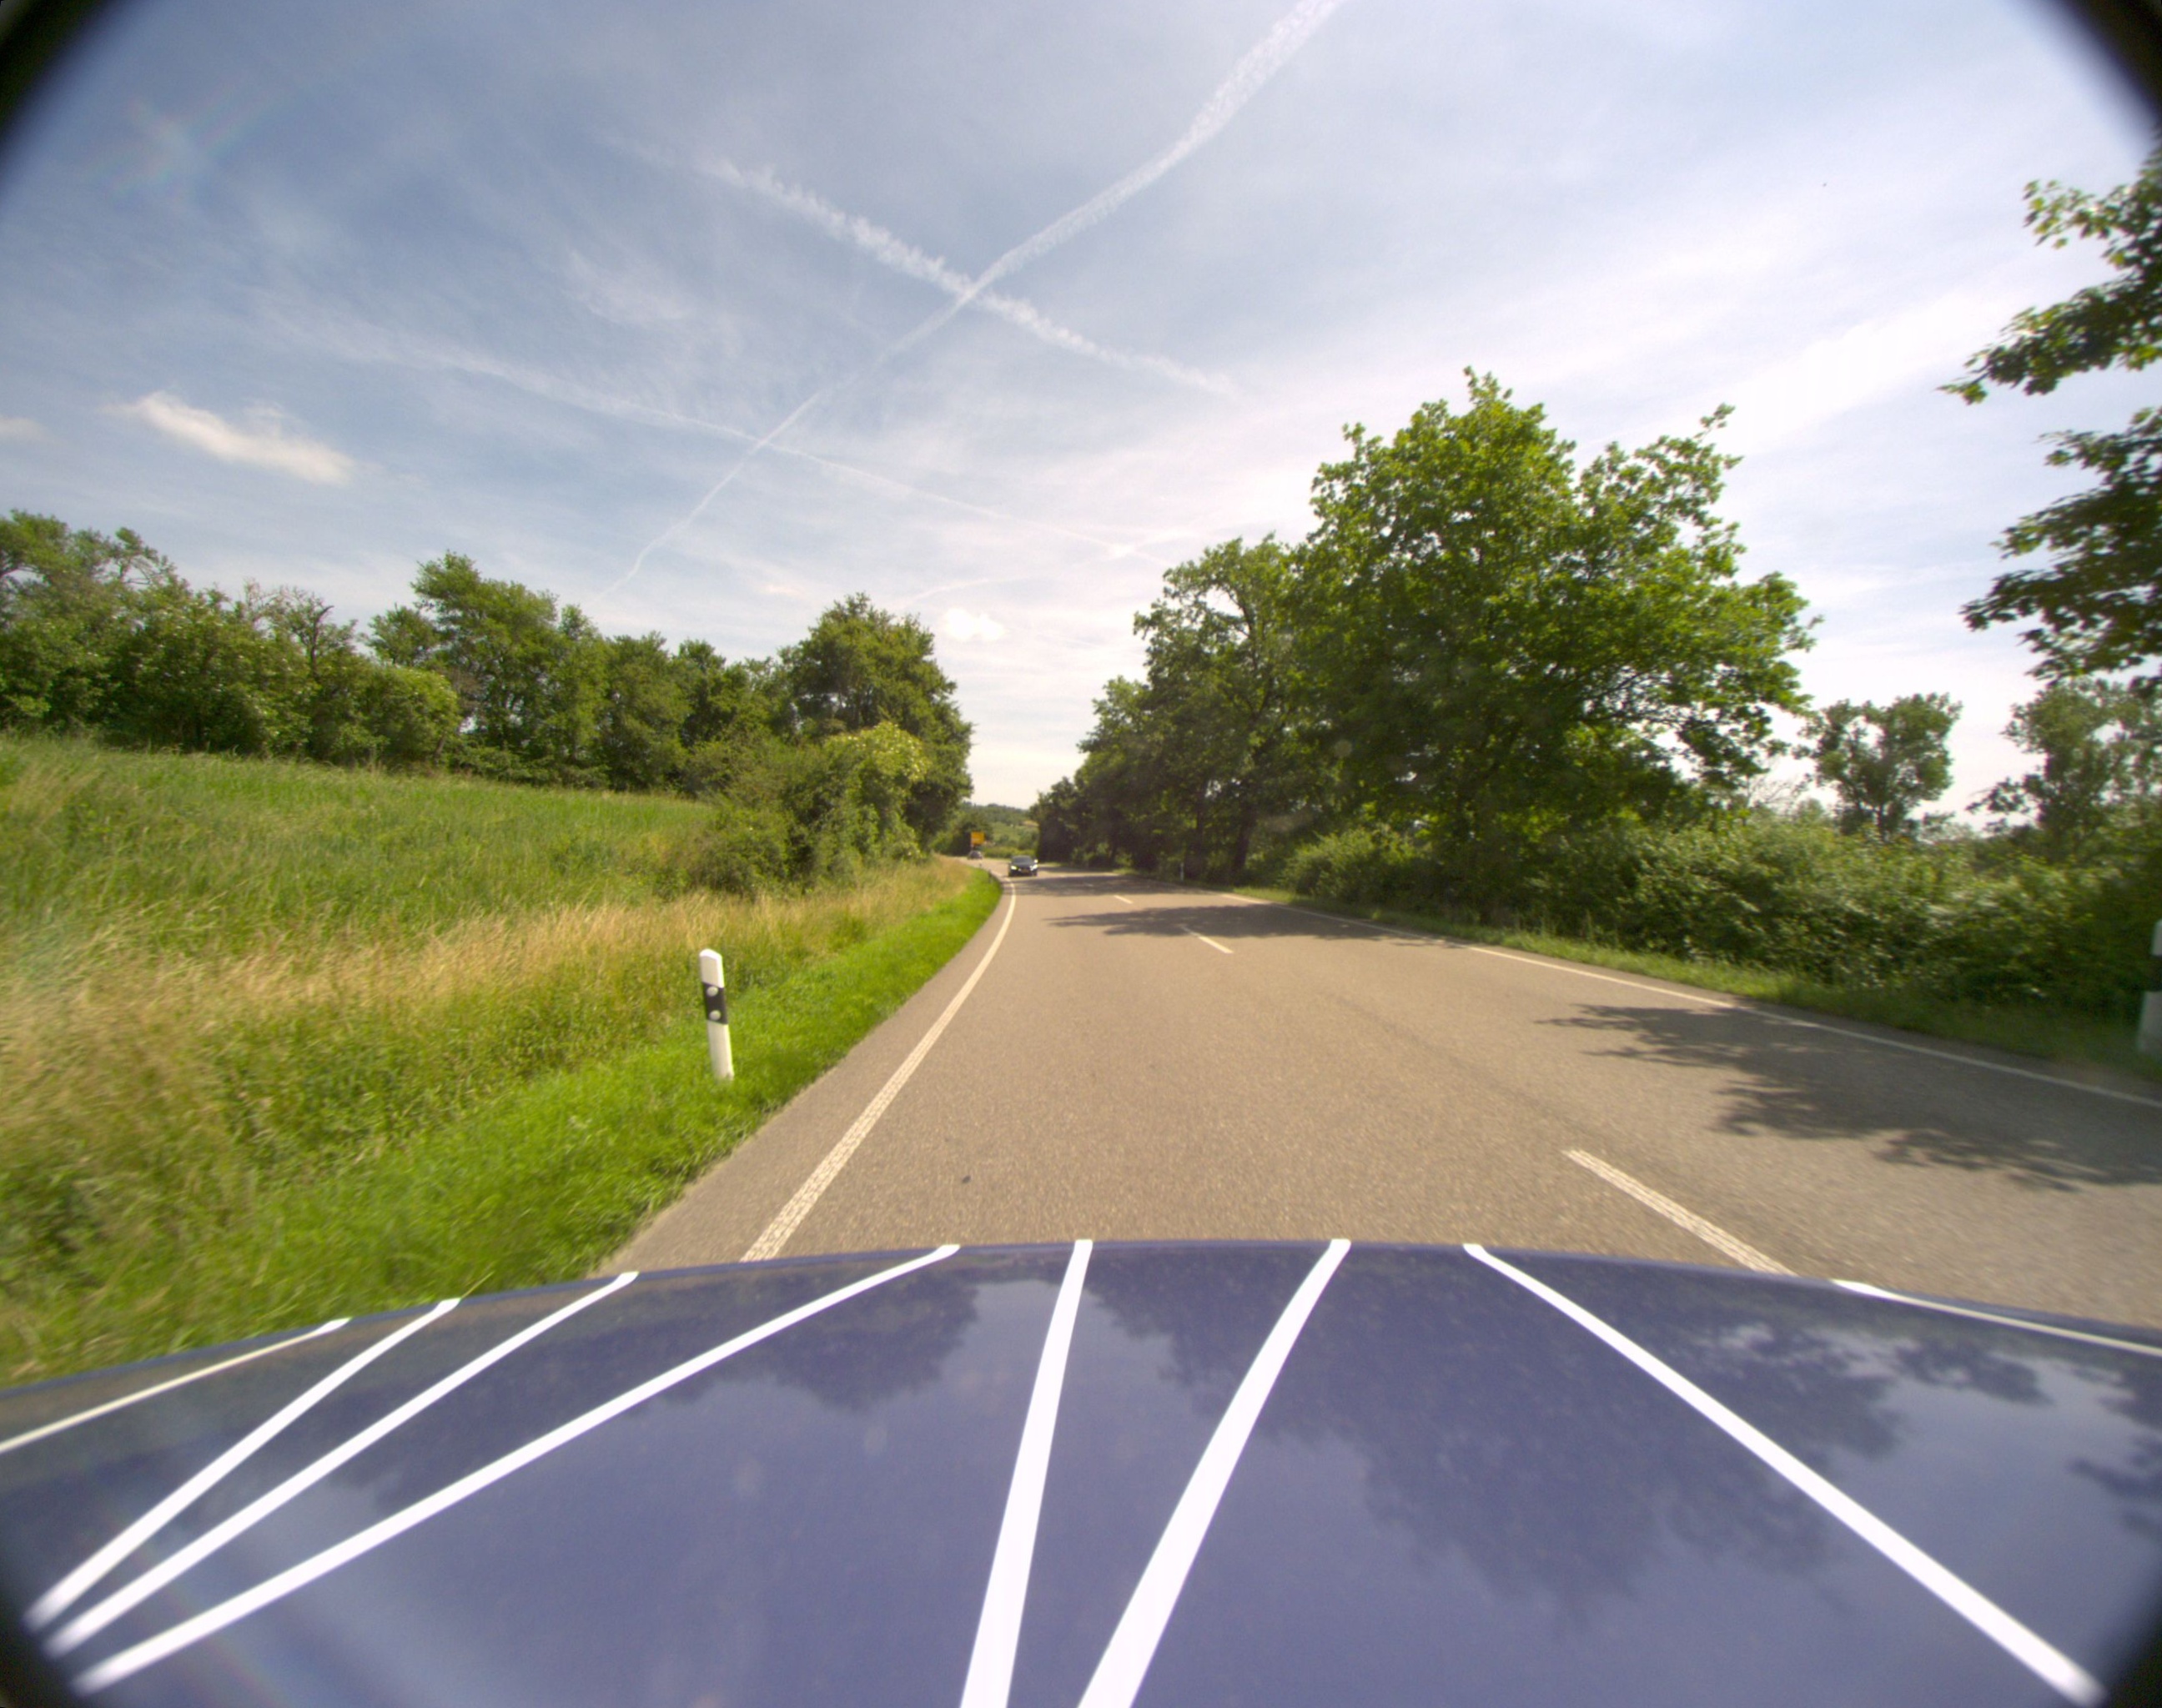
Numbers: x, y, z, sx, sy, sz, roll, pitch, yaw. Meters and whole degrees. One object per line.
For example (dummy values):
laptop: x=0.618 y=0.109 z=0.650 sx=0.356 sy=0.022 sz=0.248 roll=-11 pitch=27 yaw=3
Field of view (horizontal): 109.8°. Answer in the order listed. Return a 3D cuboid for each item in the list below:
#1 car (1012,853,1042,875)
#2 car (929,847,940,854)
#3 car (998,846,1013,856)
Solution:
car: x=-3.831 y=0.688 z=52.937 sx=1.786 sy=1.440 sz=4.601 roll=-1 pitch=0 yaw=-8
car: x=-29.737 y=-0.700 z=154.057 sx=1.676 sy=1.522 sz=3.952 roll=-1 pitch=0 yaw=-17
car: x=-12.372 y=-0.480 z=124.139 sx=1.765 sy=1.423 sz=4.263 roll=4 pitch=0 yaw=-15
